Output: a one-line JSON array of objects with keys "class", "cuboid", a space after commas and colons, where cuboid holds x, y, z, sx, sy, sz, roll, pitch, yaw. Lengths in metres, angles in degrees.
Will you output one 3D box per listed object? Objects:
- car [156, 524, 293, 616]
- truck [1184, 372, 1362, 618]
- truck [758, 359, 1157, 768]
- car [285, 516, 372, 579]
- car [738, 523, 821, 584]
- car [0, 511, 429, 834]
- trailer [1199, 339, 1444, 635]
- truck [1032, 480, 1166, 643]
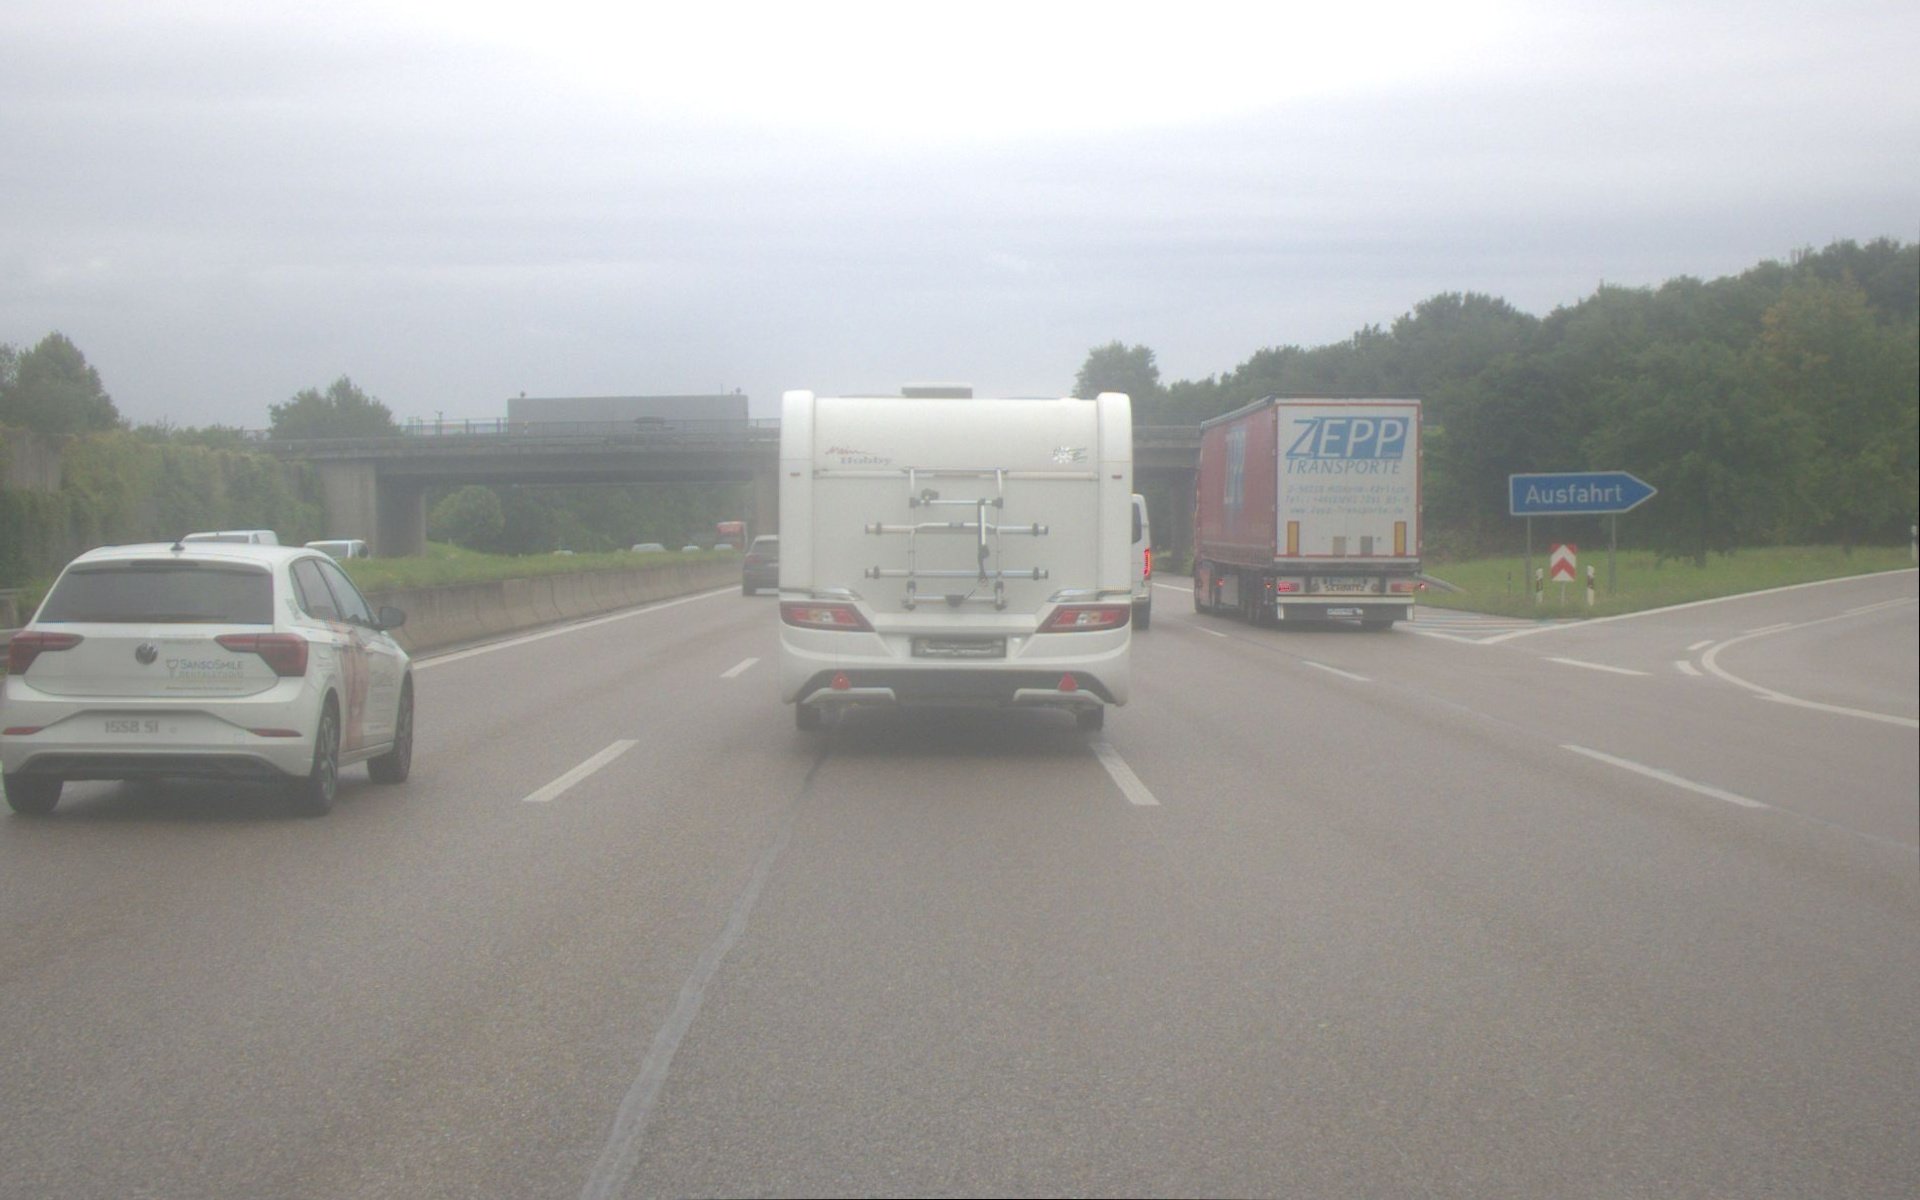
[{"class": "car", "cuboid": [-16.534, -0.693, 77.562, 2.080, 2.007, 5.195, 0, 1, -1]}, {"class": "truck", "cuboid": [6.405, -2.114, 71.173, 3.048, 4.822, 5.850, 1, 1, 0]}, {"class": "truck", "cuboid": [-0.055, -0.277, 25.853, 2.661, 2.733, 5.078, 1, 1, -1]}, {"class": "car", "cuboid": [-20.645, -1.714, 112.593, 1.993, 2.007, 5.228, 1, 1, -1]}, {"class": "car", "cuboid": [-4.926, -1.274, 94.465, 1.993, 1.594, 5.124, 1, 1, 0]}, {"class": "car", "cuboid": [-4.226, 0.321, 19.499, 1.753, 1.612, 4.664, 0, 1, -1]}, {"class": "trailer", "cuboid": [6.468, -1.971, 63.483, 3.100, 4.905, 11.791, 1, 1, 0]}, {"class": "truck", "cuboid": [2.436, -0.690, 61.699, 2.053, 2.760, 5.549, 1, 1, -1]}]
